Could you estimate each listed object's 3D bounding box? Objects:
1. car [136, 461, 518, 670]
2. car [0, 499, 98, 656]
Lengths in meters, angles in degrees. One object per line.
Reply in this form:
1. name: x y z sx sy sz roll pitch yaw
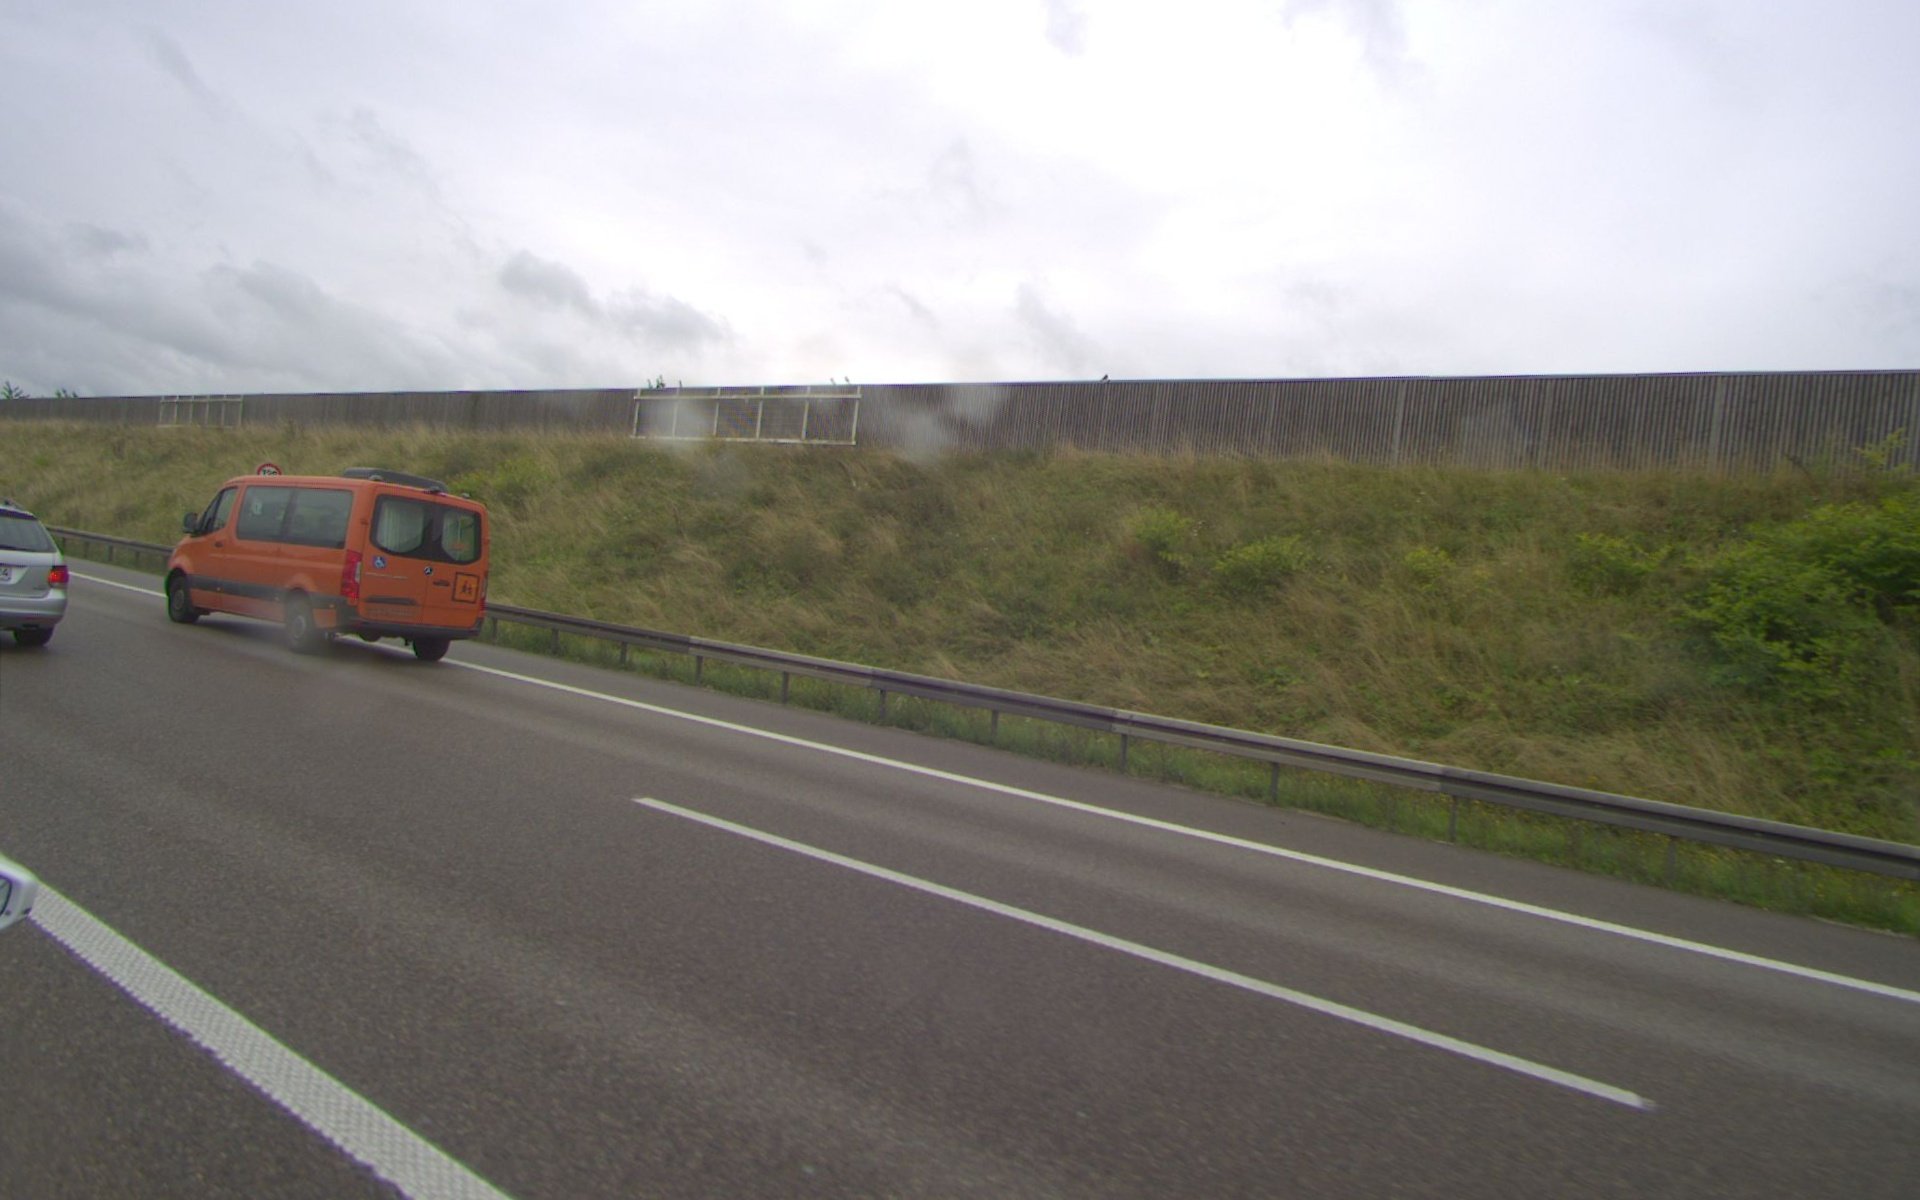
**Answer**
1. car: -9.482 -0.578 14.860 6.077 2.343 2.089 7 0 31
2. car: -11.035 -0.443 10.511 4.442 1.442 1.744 7 0 32
